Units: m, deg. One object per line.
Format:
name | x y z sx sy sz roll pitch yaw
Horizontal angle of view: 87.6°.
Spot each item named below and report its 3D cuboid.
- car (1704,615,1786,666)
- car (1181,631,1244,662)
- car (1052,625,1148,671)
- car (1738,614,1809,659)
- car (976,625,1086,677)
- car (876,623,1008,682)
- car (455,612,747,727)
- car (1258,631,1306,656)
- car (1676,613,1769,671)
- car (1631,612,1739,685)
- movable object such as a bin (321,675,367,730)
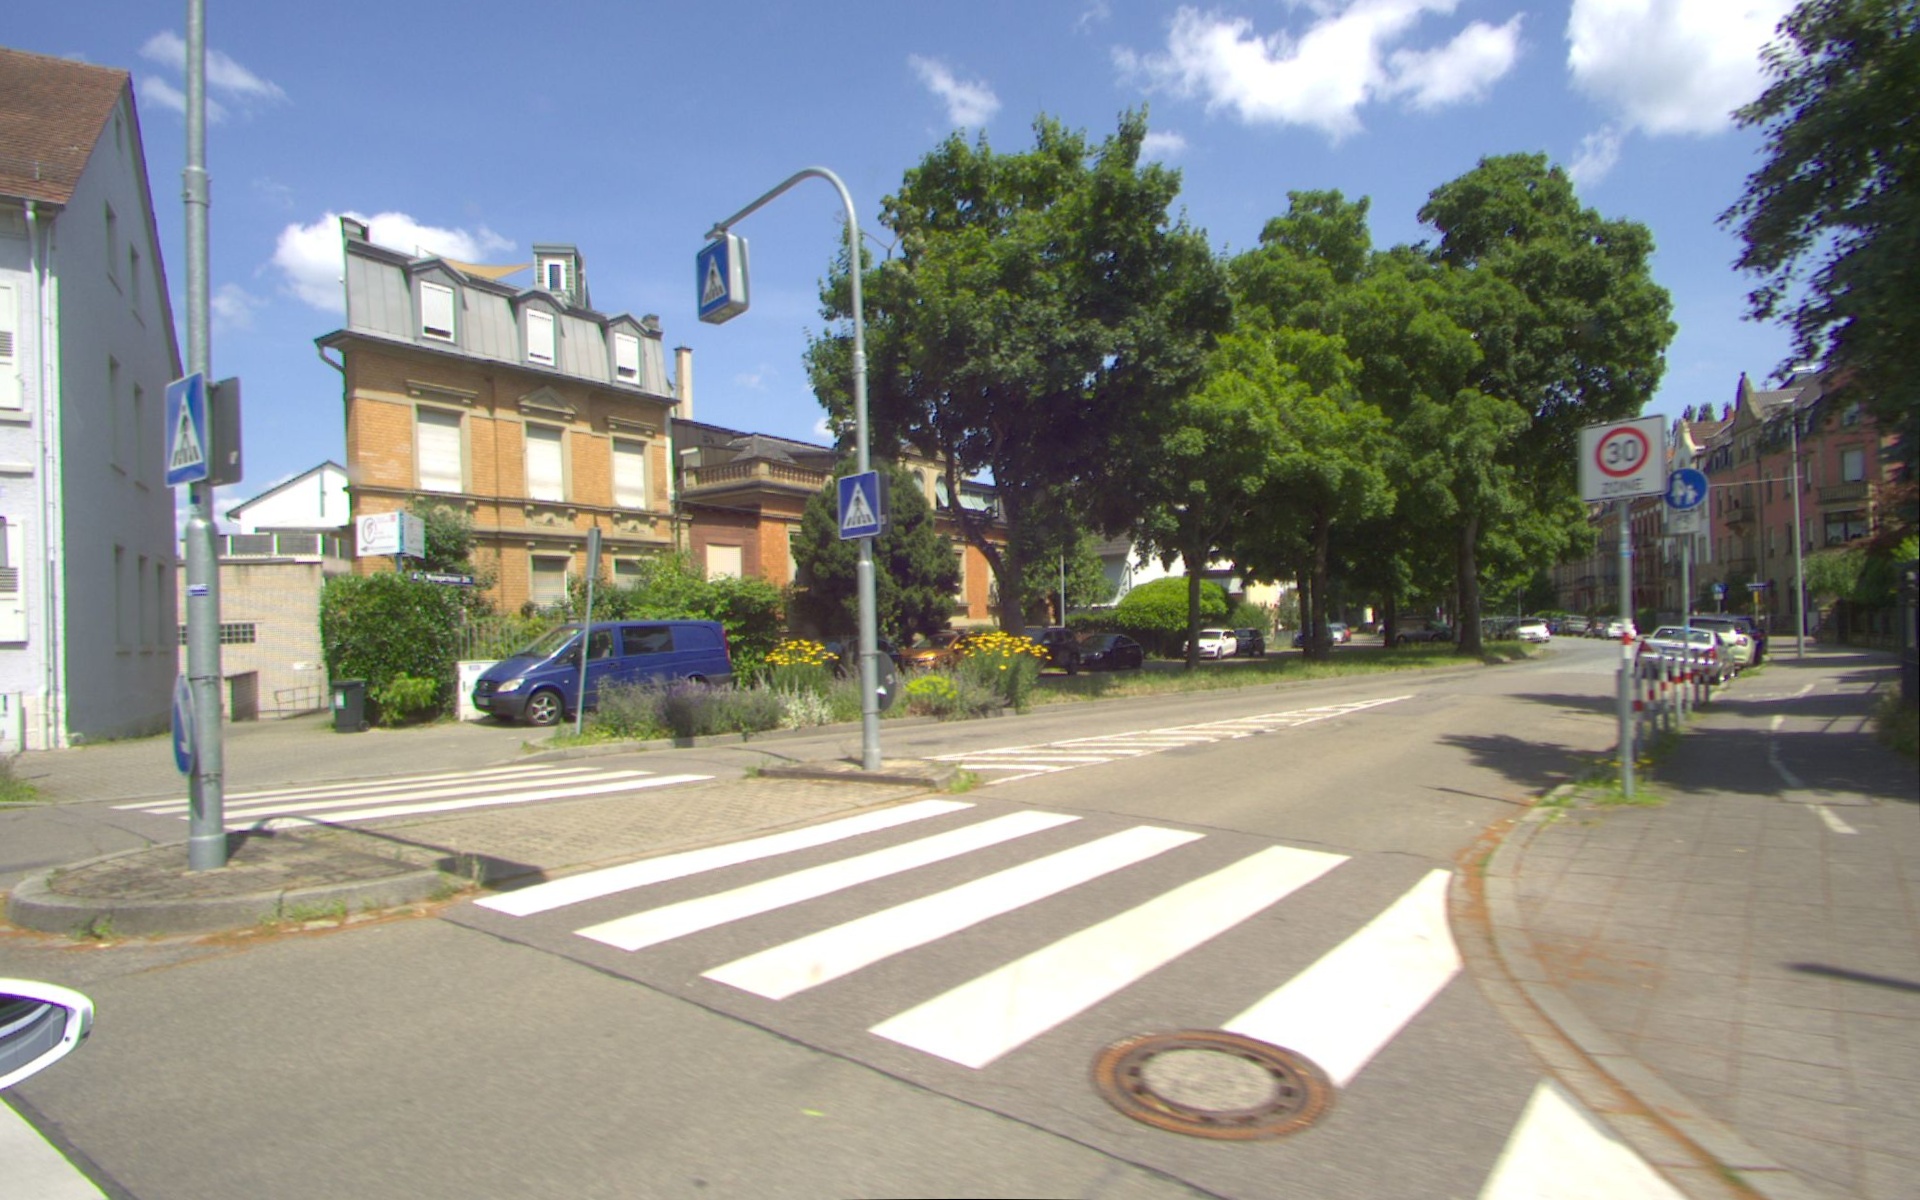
car | 24.671 1.291 31.433 1.591 1.457 3.697 -5 -5 44
car | 12.426 2.288 49.175 1.495 1.410 4.435 -4 -5 35
car | 5.467 1.870 38.679 1.837 1.610 4.434 -4 -5 35
car | 28.786 1.329 35.399 1.591 1.457 3.697 -5 -5 44
car | 2.495 1.756 34.234 1.837 1.610 4.220 -4 -5 35
car | -0.457 1.582 30.039 1.837 1.610 4.220 -4 -5 35
car | -7.083 1.256 20.226 2.060 1.973 5.196 -1 -1 43
car | 19.462 2.632 60.472 1.495 1.410 4.435 -4 -5 35
car | 21.225 1.186 27.826 1.591 1.457 3.697 -5 -5 44
car | 17.685 1.150 24.361 1.589 1.572 3.698 3 0 44
movable object such as a bin | -10.756 1.786 17.497 0.549 0.927 0.420 -2 -3 10
